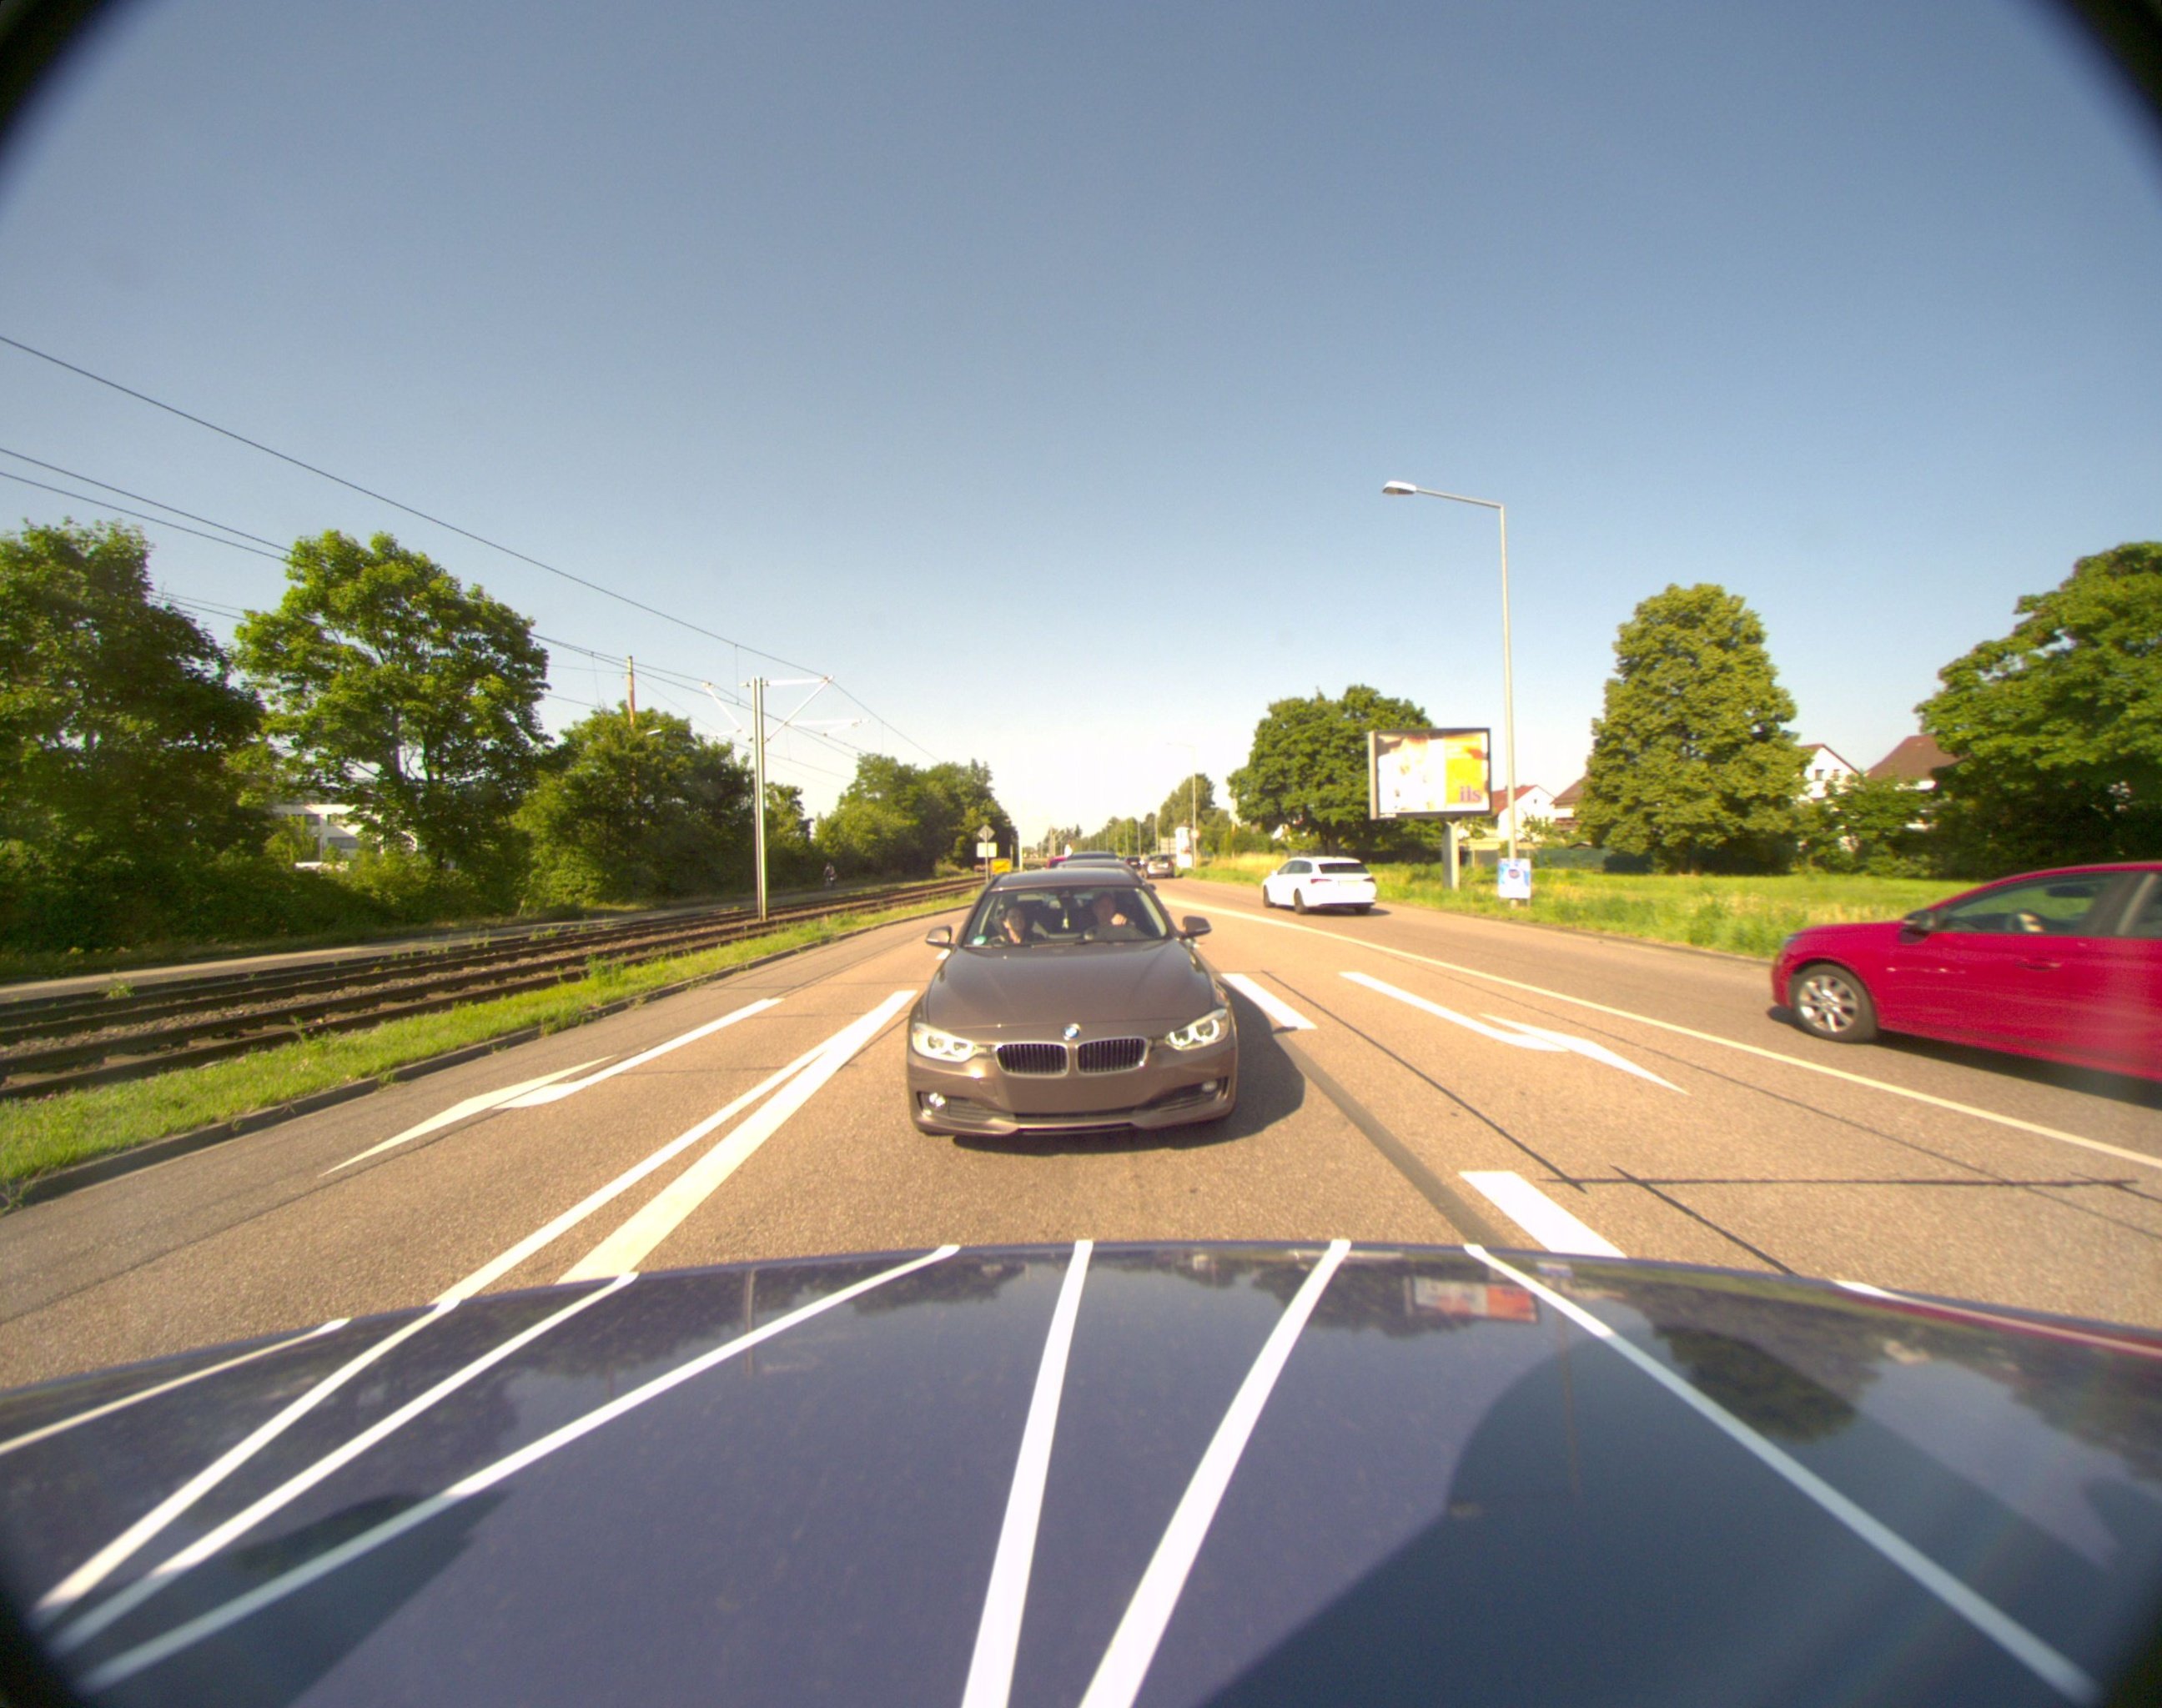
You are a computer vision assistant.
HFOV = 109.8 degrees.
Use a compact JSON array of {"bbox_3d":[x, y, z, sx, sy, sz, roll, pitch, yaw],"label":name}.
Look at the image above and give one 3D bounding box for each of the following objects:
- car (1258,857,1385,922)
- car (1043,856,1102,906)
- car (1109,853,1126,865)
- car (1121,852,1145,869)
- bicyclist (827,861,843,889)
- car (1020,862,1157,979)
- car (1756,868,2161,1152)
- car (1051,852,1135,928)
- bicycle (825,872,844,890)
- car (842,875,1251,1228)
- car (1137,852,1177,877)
[{"bbox_3d":[6.171,0.845,20.019,1.784,1.469,4.271,-1,0,-3],"label":"car"},{"bbox_3d":[-0.242,0.850,26.003,1.807,1.498,4.197,-1,0,0],"label":"car"},{"bbox_3d":[4.801,0.631,99.935,1.784,1.469,4.285,-1,0,-3],"label":"car"},{"bbox_3d":[4.896,0.583,72.112,1.784,1.469,4.285,-1,0,-3],"label":"car"},{"bbox_3d":[-16.172,1.346,49.933,0.708,1.797,0.718,-1,1,2],"label":"bicyclist"},{"bbox_3d":[0.122,0.916,12.555,1.821,1.481,4.611,-1,0,0],"label":"car"},{"bbox_3d":[6.694,0.862,4.582,1.784,1.469,3.914,0,0,0],"label":"car"},{"bbox_3d":[0.286,0.799,19.301,1.821,1.641,4.611,-2,0,0],"label":"car"},{"bbox_3d":[-16.186,1.765,49.900,0.547,1.041,1.874,-1,0,2],"label":"bicycle"},{"bbox_3d":[-0.131,0.974,5.724,1.821,1.416,4.461,-2,0,1],"label":"car"},{"bbox_3d":[4.780,0.660,48.322,1.784,1.469,4.285,-2,0,-4],"label":"car"}]
